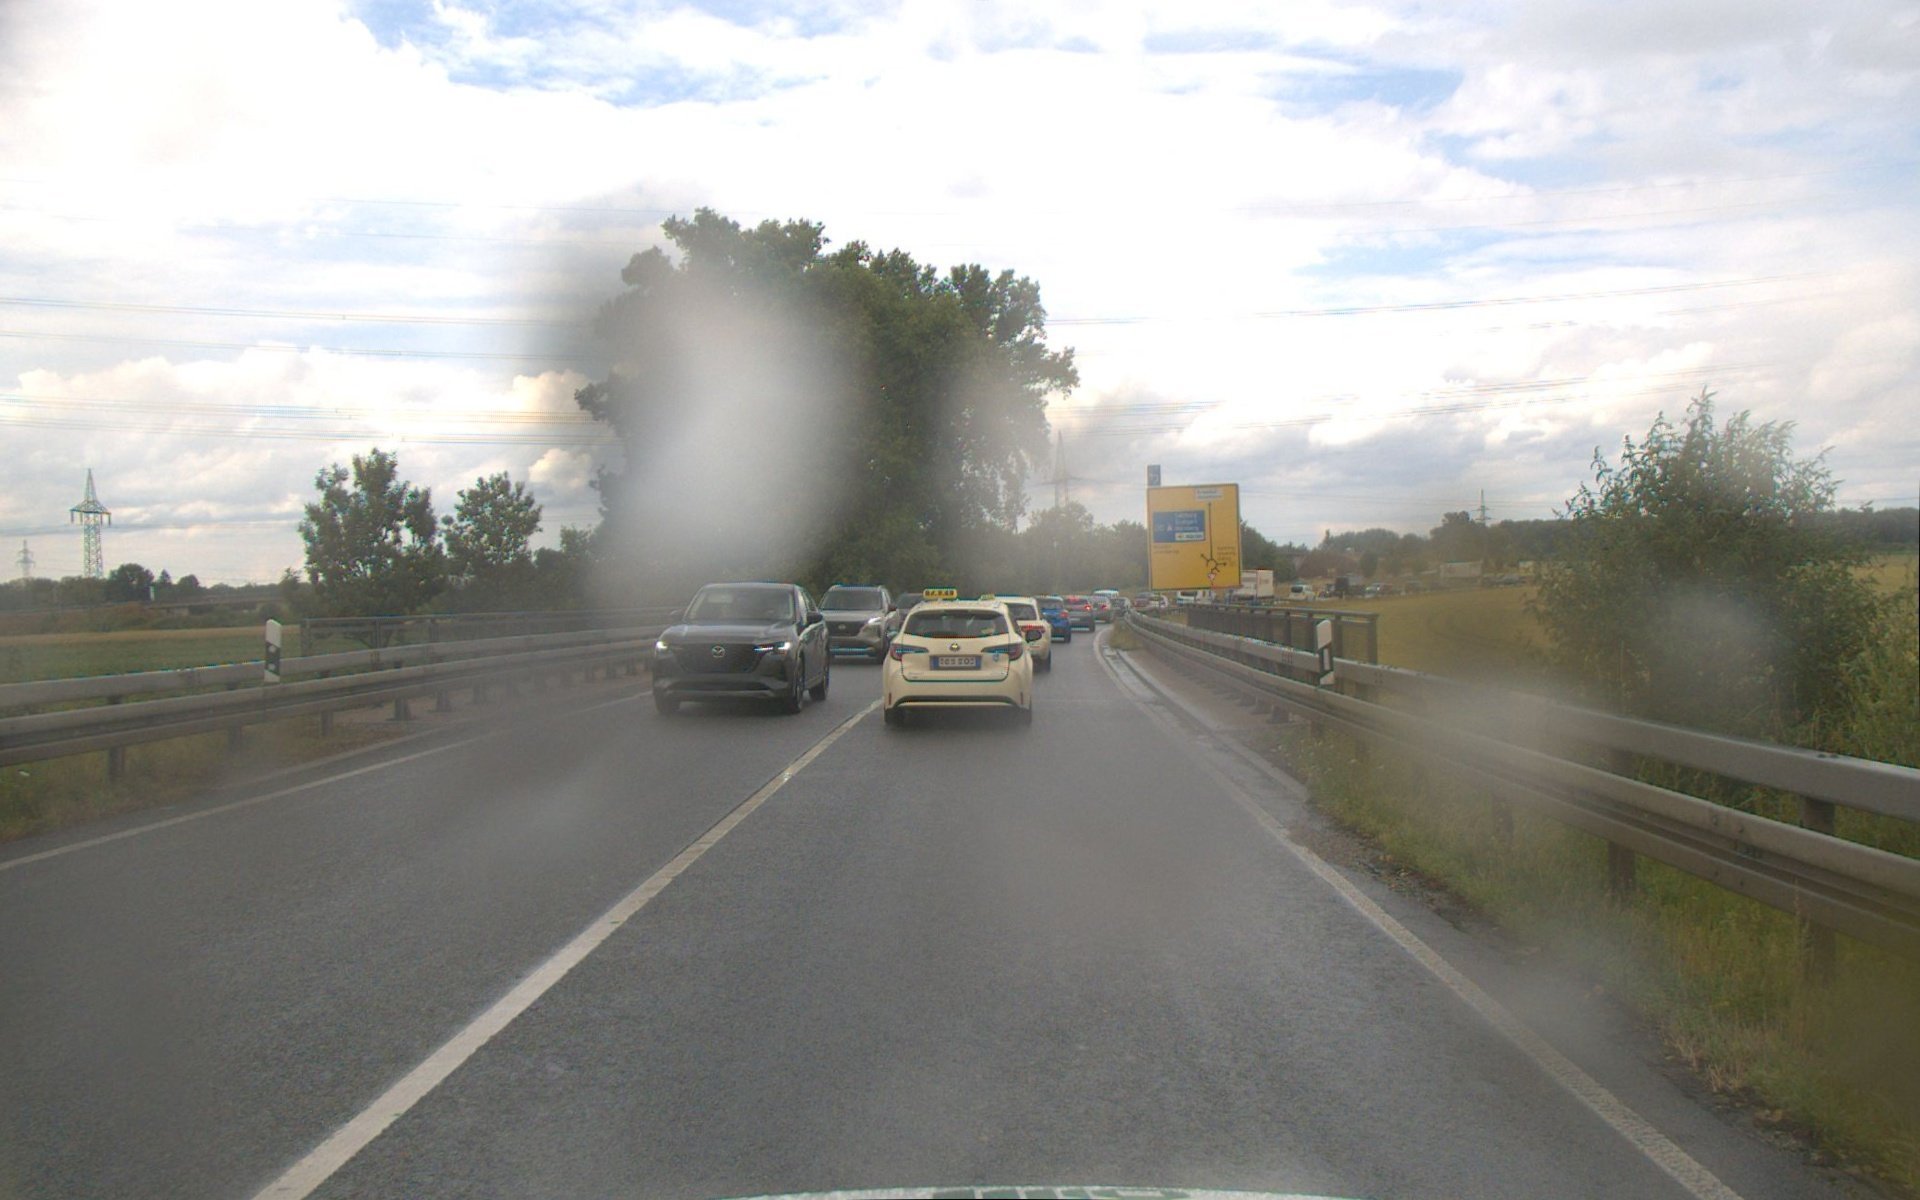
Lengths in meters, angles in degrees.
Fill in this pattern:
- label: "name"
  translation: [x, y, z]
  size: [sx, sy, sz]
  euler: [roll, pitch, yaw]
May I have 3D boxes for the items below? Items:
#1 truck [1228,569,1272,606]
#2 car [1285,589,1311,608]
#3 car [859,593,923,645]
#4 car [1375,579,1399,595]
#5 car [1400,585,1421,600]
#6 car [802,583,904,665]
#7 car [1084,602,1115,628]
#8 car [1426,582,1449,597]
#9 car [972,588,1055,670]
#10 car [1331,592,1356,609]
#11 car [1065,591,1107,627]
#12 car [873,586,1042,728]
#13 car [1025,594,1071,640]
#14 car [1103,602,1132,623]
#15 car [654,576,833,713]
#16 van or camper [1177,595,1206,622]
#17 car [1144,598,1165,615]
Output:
- label: "truck"
  translation: [29.837, -1.280, 169.763]
  size: [3.075, 3.624, 7.521]
  euler: [0, -1, 21]
- label: "car"
  translation: [38.672, -0.150, 189.233]
  size: [2.123, 2.049, 3.998]
  euler: [0, -1, 24]
- label: "car"
  translation: [-2.153, 0.569, 52.611]
  size: [1.860, 1.568, 4.023]
  euler: [0, 0, -1]
- label: "car"
  translation: [56.567, -1.742, 218.976]
  size: [2.183, 2.049, 3.994]
  euler: [0, -1, 28]
- label: "car"
  translation: [61.980, -0.993, 227.531]
  size: [1.955, 2.049, 3.994]
  euler: [0, -1, 28]
- label: "car"
  translation: [-2.374, 0.491, 37.667]
  size: [1.803, 1.730, 4.391]
  euler: [1, 1, 3]
- label: "car"
  translation: [7.960, 0.891, 94.228]
  size: [1.625, 1.434, 3.907]
  euler: [0, -1, 7]
- label: "car"
  translation: [67.883, -1.487, 235.128]
  size: [1.961, 2.049, 3.983]
  euler: [0, -1, 37]
- label: "car"
  translation: [1.147, 0.567, 34.037]
  size: [1.545, 1.600, 3.683]
  euler: [0, 0, 4]
- label: "car"
  translation: [47.515, 0.052, 204.927]
  size: [1.956, 2.049, 3.993]
  euler: [0, -1, 29]
- label: "car"
  translation: [5.366, 0.375, 70.126]
  size: [1.630, 1.490, 3.479]
  euler: [0, 0, 7]
- label: "car"
  translation: [0.030, 0.636, 20.379]
  size: [1.866, 1.564, 4.162]
  euler: [0, 0, 2]
- label: "car"
  translation: [2.926, 0.554, 54.921]
  size: [1.474, 1.462, 3.357]
  euler: [0, 0, 3]
- label: "car"
  translation: [10.384, 0.813, 108.900]
  size: [1.451, 1.332, 3.479]
  euler: [0, 0, 14]
- label: "car"
  translation: [-2.853, 0.527, 22.674]
  size: [1.710, 1.682, 4.526]
  euler: [0, 1, 2]
- label: "van or camper"
  translation: [19.963, 0.724, 142.602]
  size: [1.951, 2.293, 4.003]
  euler: [0, -1, 15]
- label: "car"
  translation: [14.843, 0.499, 126.155]
  size: [1.451, 1.332, 3.480]
  euler: [0, 0, 9]
